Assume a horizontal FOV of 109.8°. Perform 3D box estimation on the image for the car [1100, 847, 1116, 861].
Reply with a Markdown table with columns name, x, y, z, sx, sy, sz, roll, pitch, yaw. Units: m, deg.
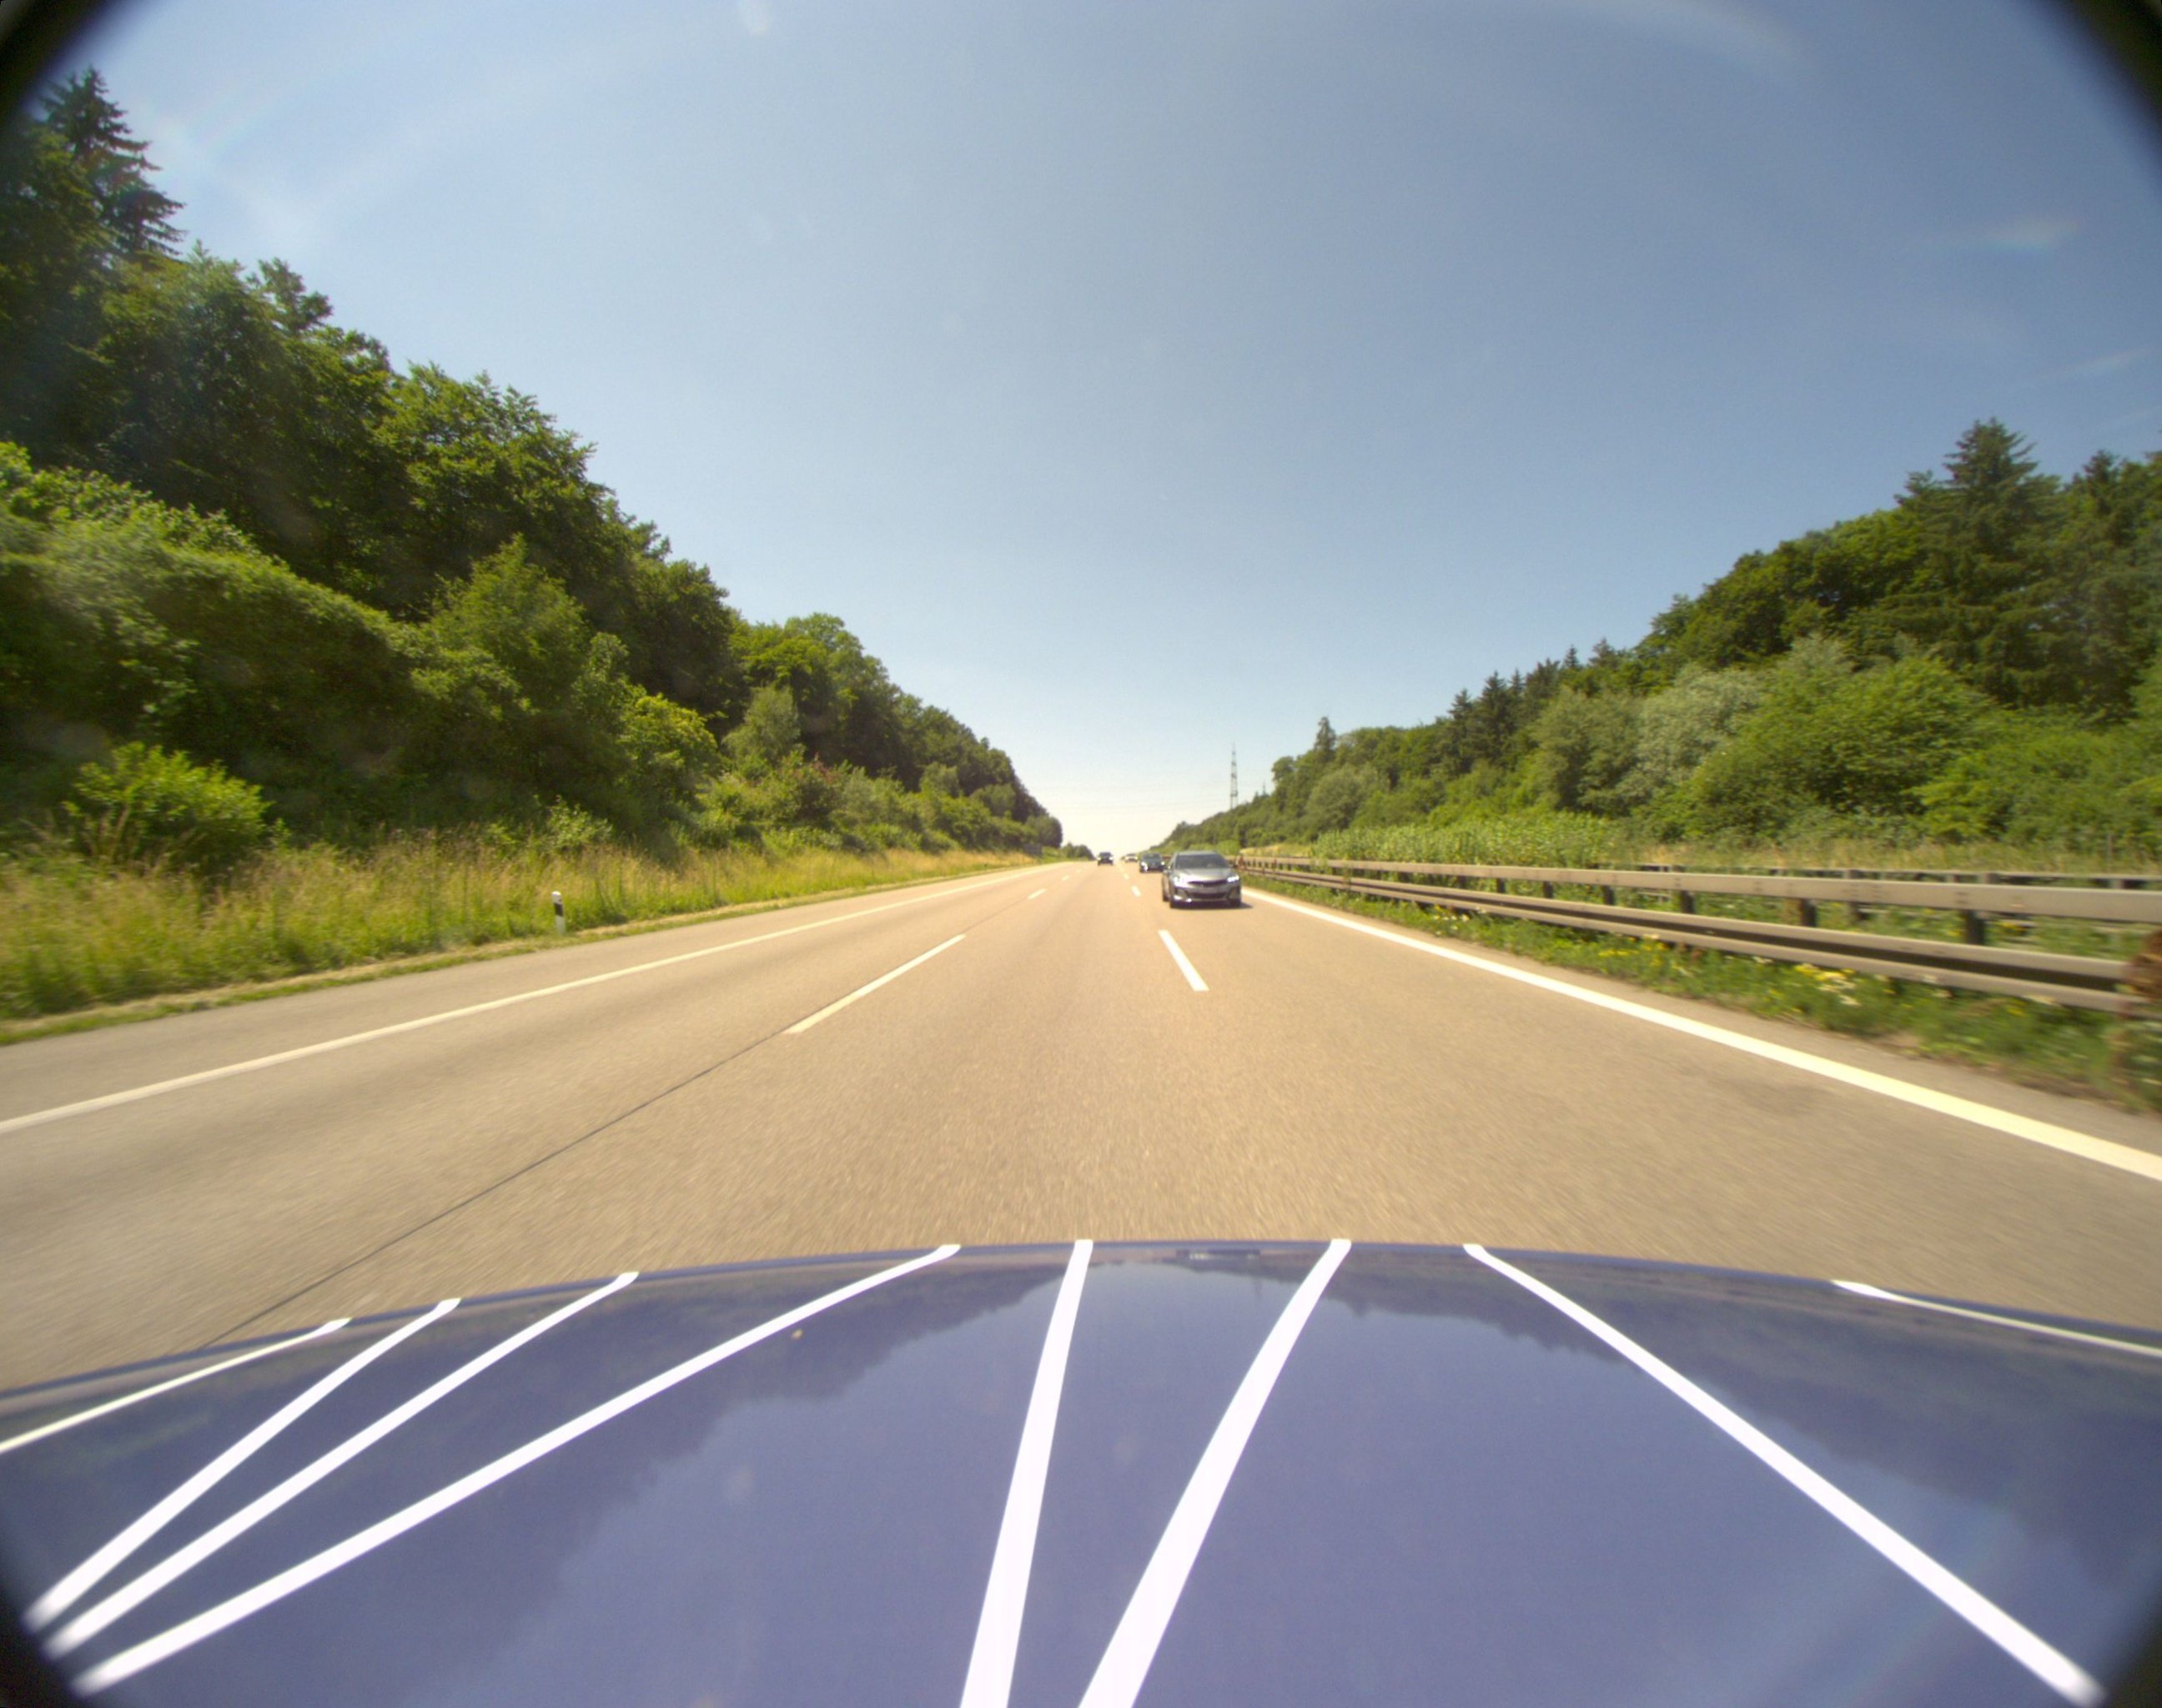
| name | x | y | z | sx | sy | sz | roll | pitch | yaw |
| --- | --- | --- | --- | --- | --- | --- | --- | --- | --- |
| car | 3.283 | -0.013 | 92.641 | 1.787 | 1.550 | 3.943 | -2 | 0 | 1 |

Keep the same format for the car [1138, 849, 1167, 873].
| name | x | y | z | sx | sy | sz | roll | pitch | yaw |
| --- | --- | --- | --- | --- | --- | --- | --- | --- | --- |
| car | 5.068 | 0.445 | 54.490 | 1.741 | 1.610 | 3.943 | -2 | 0 | 1 |

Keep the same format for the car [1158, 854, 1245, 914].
| name | x | y | z | sx | sy | sz | roll | pitch | yaw |
| --- | --- | --- | --- | --- | --- | --- | --- | --- | --- |
| car | 3.160 | 0.746 | 20.606 | 1.768 | 1.400 | 3.999 | -2 | 0 | 1 |

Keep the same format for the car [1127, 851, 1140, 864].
| name | x | y | z | sx | sy | sz | roll | pitch | yaw |
| --- | --- | --- | --- | --- | --- | --- | --- | --- | --- |
| car | 8.073 | 0.547 | 116.939 | 1.875 | 2.002 | 4.000 | -2 | 0 | 2 |
